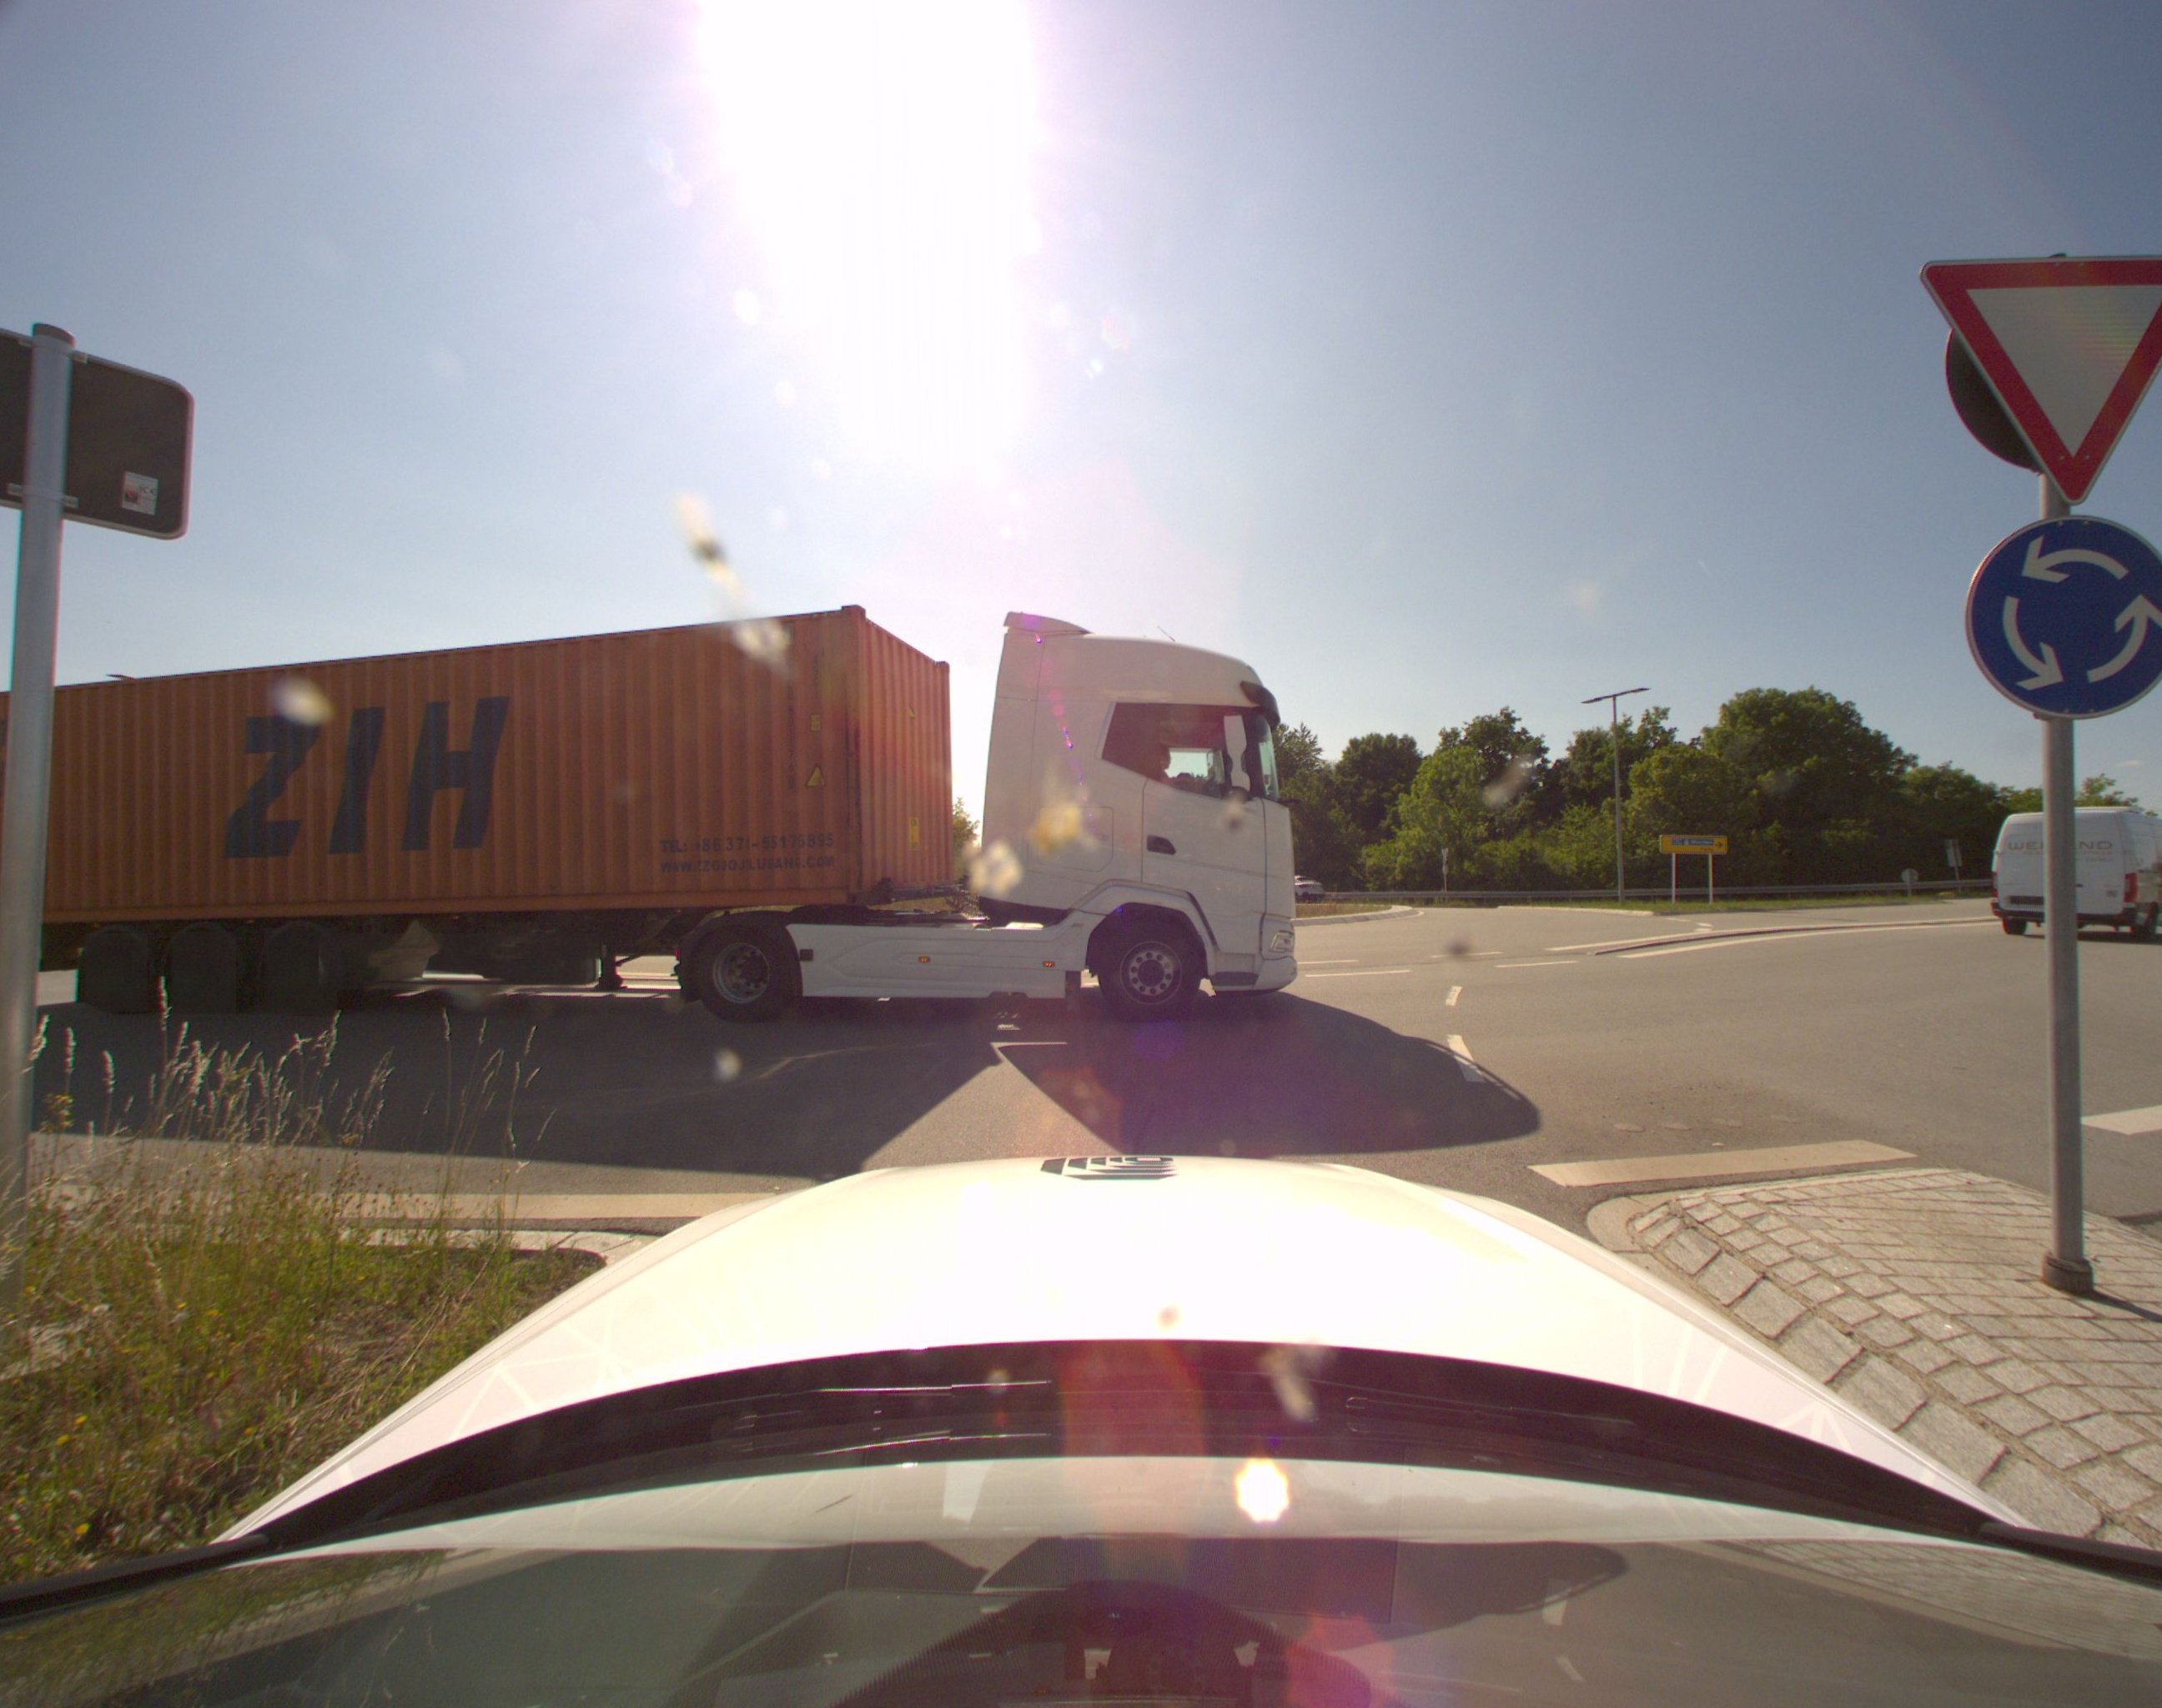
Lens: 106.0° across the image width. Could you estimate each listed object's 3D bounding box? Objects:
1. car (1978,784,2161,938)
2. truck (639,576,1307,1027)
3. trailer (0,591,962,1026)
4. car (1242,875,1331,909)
[{"bbox_3d":[22.189,0.171,17.985,6.159,2.921,2.064,1,-2,-32],"label":"car"},{"bbox_3d":[-1.009,-0.427,9.024,6.381,4.107,2.667,-1,-1,6],"label":"truck"},{"bbox_3d":[-7.797,-0.306,10.244,12.238,4.154,2.569,-1,-1,12],"label":"trailer"},{"bbox_3d":[10.217,1.843,40.748,1.853,1.596,4.281,1,-1,-31],"label":"car"}]
